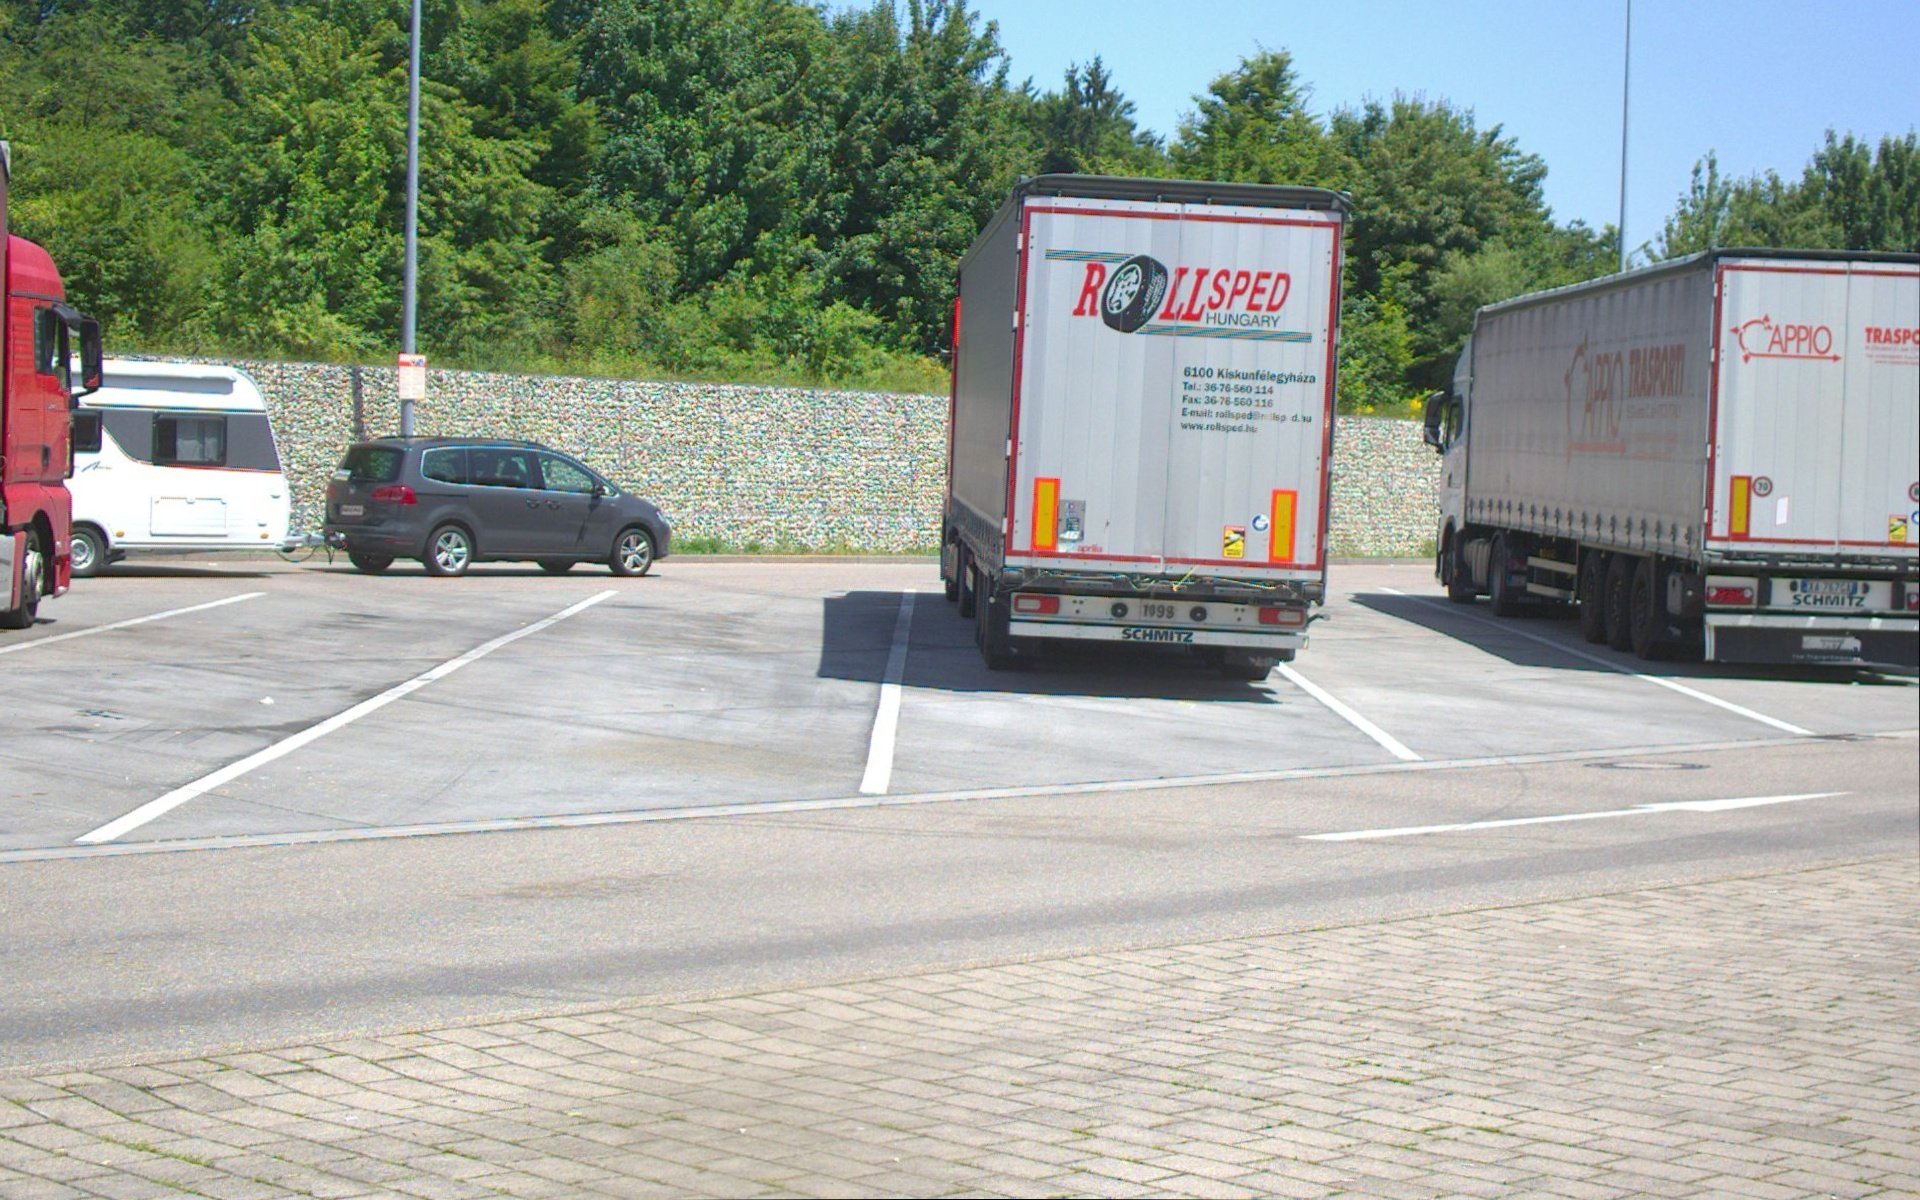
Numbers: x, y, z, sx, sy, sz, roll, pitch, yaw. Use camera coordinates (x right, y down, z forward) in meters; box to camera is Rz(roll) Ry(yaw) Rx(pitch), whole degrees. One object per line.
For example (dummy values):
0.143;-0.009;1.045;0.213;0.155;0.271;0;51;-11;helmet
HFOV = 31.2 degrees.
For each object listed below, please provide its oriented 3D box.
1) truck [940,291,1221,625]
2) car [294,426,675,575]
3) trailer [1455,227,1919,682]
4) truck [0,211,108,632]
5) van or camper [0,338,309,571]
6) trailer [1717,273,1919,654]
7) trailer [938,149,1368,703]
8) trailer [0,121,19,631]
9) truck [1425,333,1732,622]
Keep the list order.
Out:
1.281;-1.650;39.792;2.852;3.472;5.483;2;3;-1;truck
-6.019;-1.245;43.830;4.499;1.702;1.786;0;4;-42;car
8.147;-1.639;38.669;2.838;4.118;13.724;2;3;-1;trailer
-9.246;-1.531;28.722;2.852;3.416;5.483;2;3;-1;truck
-10.626;-1.681;39.448;5.833;2.556;2.271;0;4;-44;van or camper
11.784;-1.537;39.422;2.838;4.118;13.724;2;3;-1;trailer
1.430;-1.638;33.179;2.906;4.118;13.725;2;3;-1;trailer
-9.156;-1.510;21.283;2.906;4.118;13.725;2;3;-1;trailer
8.054;-1.641;45.482;2.852;3.472;5.483;2;3;-1;truck
